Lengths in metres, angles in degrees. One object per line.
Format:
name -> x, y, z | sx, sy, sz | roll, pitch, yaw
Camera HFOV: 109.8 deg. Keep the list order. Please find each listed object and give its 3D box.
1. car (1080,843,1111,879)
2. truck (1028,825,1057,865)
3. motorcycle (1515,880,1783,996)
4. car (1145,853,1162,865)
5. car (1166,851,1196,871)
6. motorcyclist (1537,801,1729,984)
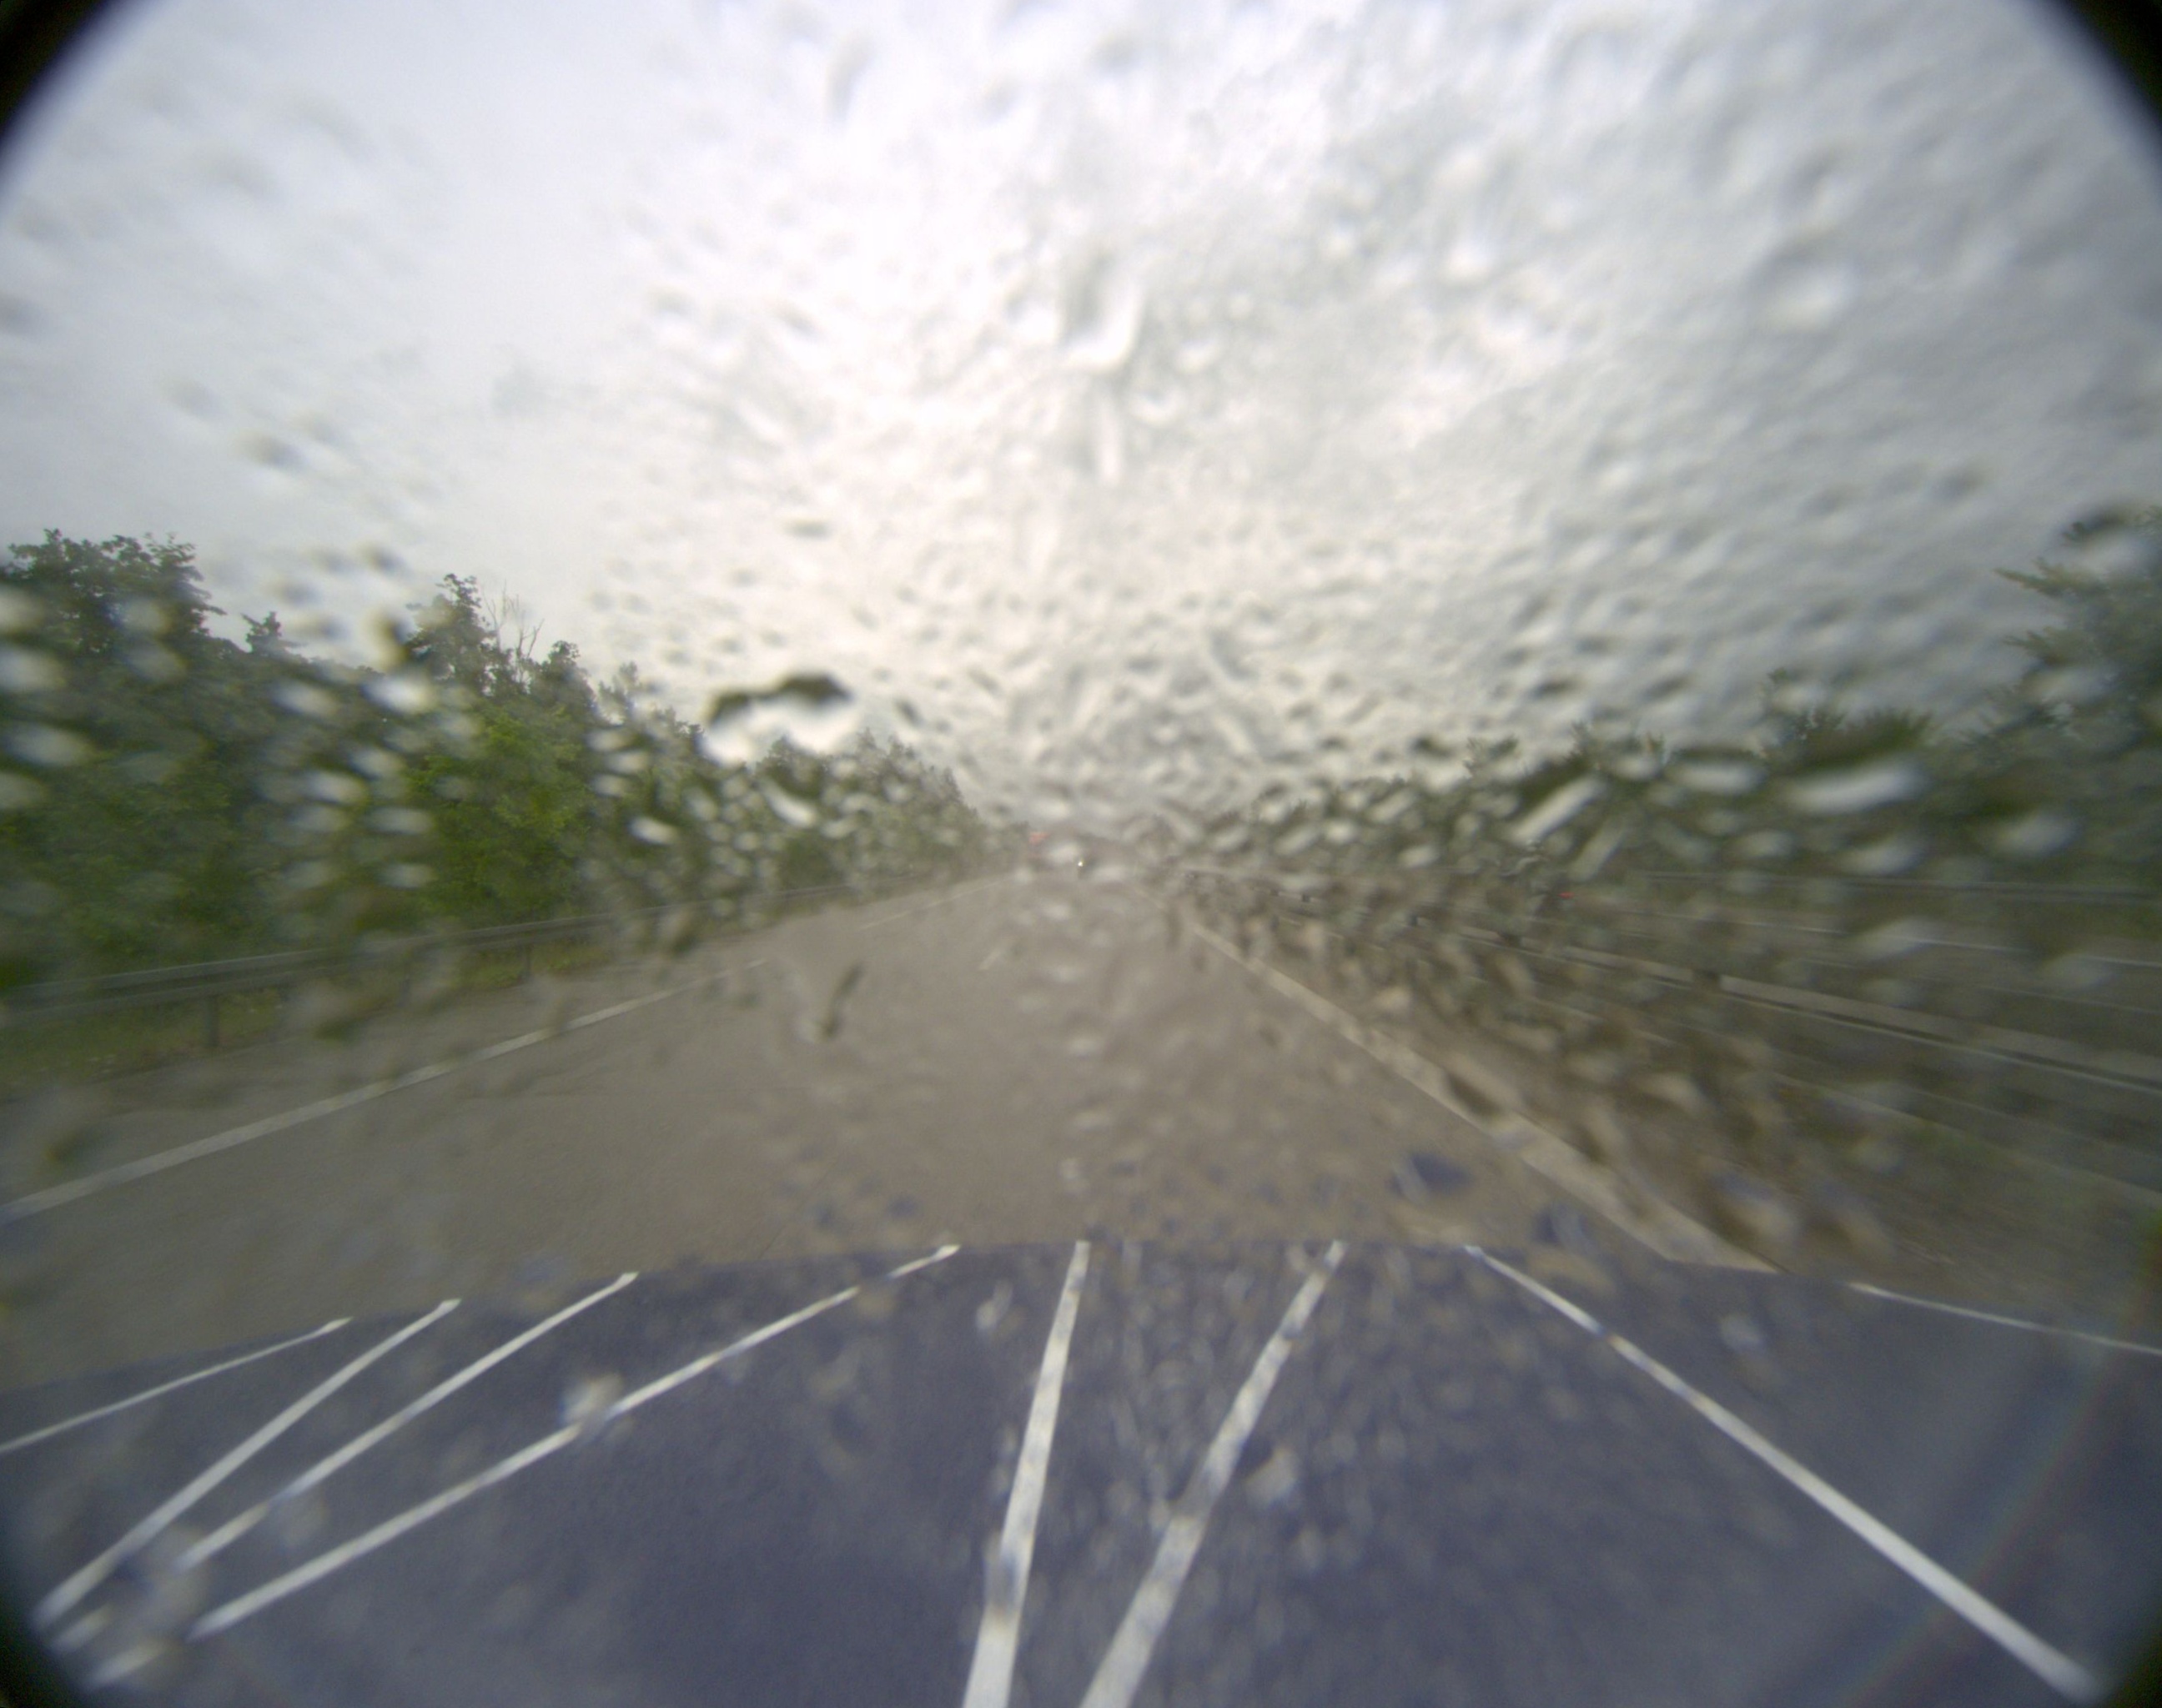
car -> 0.863, 0.415, 47.383 | 1.795, 2.113, 4.524 | 1, -1, -1
truck -> -3.997, -0.872, 79.844 | 2.766, 4.063, 5.437 | 1, 0, -1
motorcycle -> 7.382, 1.018, 10.214 | 1.269, 1.137, 2.961 | -3, 1, -2
car -> 10.329, 0.695, 108.248 | 1.906, 1.490, 4.219 | -2, 1, -1
car -> 8.275, 0.608, 63.292 | 1.799, 1.609, 4.000 | 1, -1, -2
motorcyclist -> 7.359, 0.471, 10.272 | 1.265, 2.216, 1.697 | -3, 1, -2
